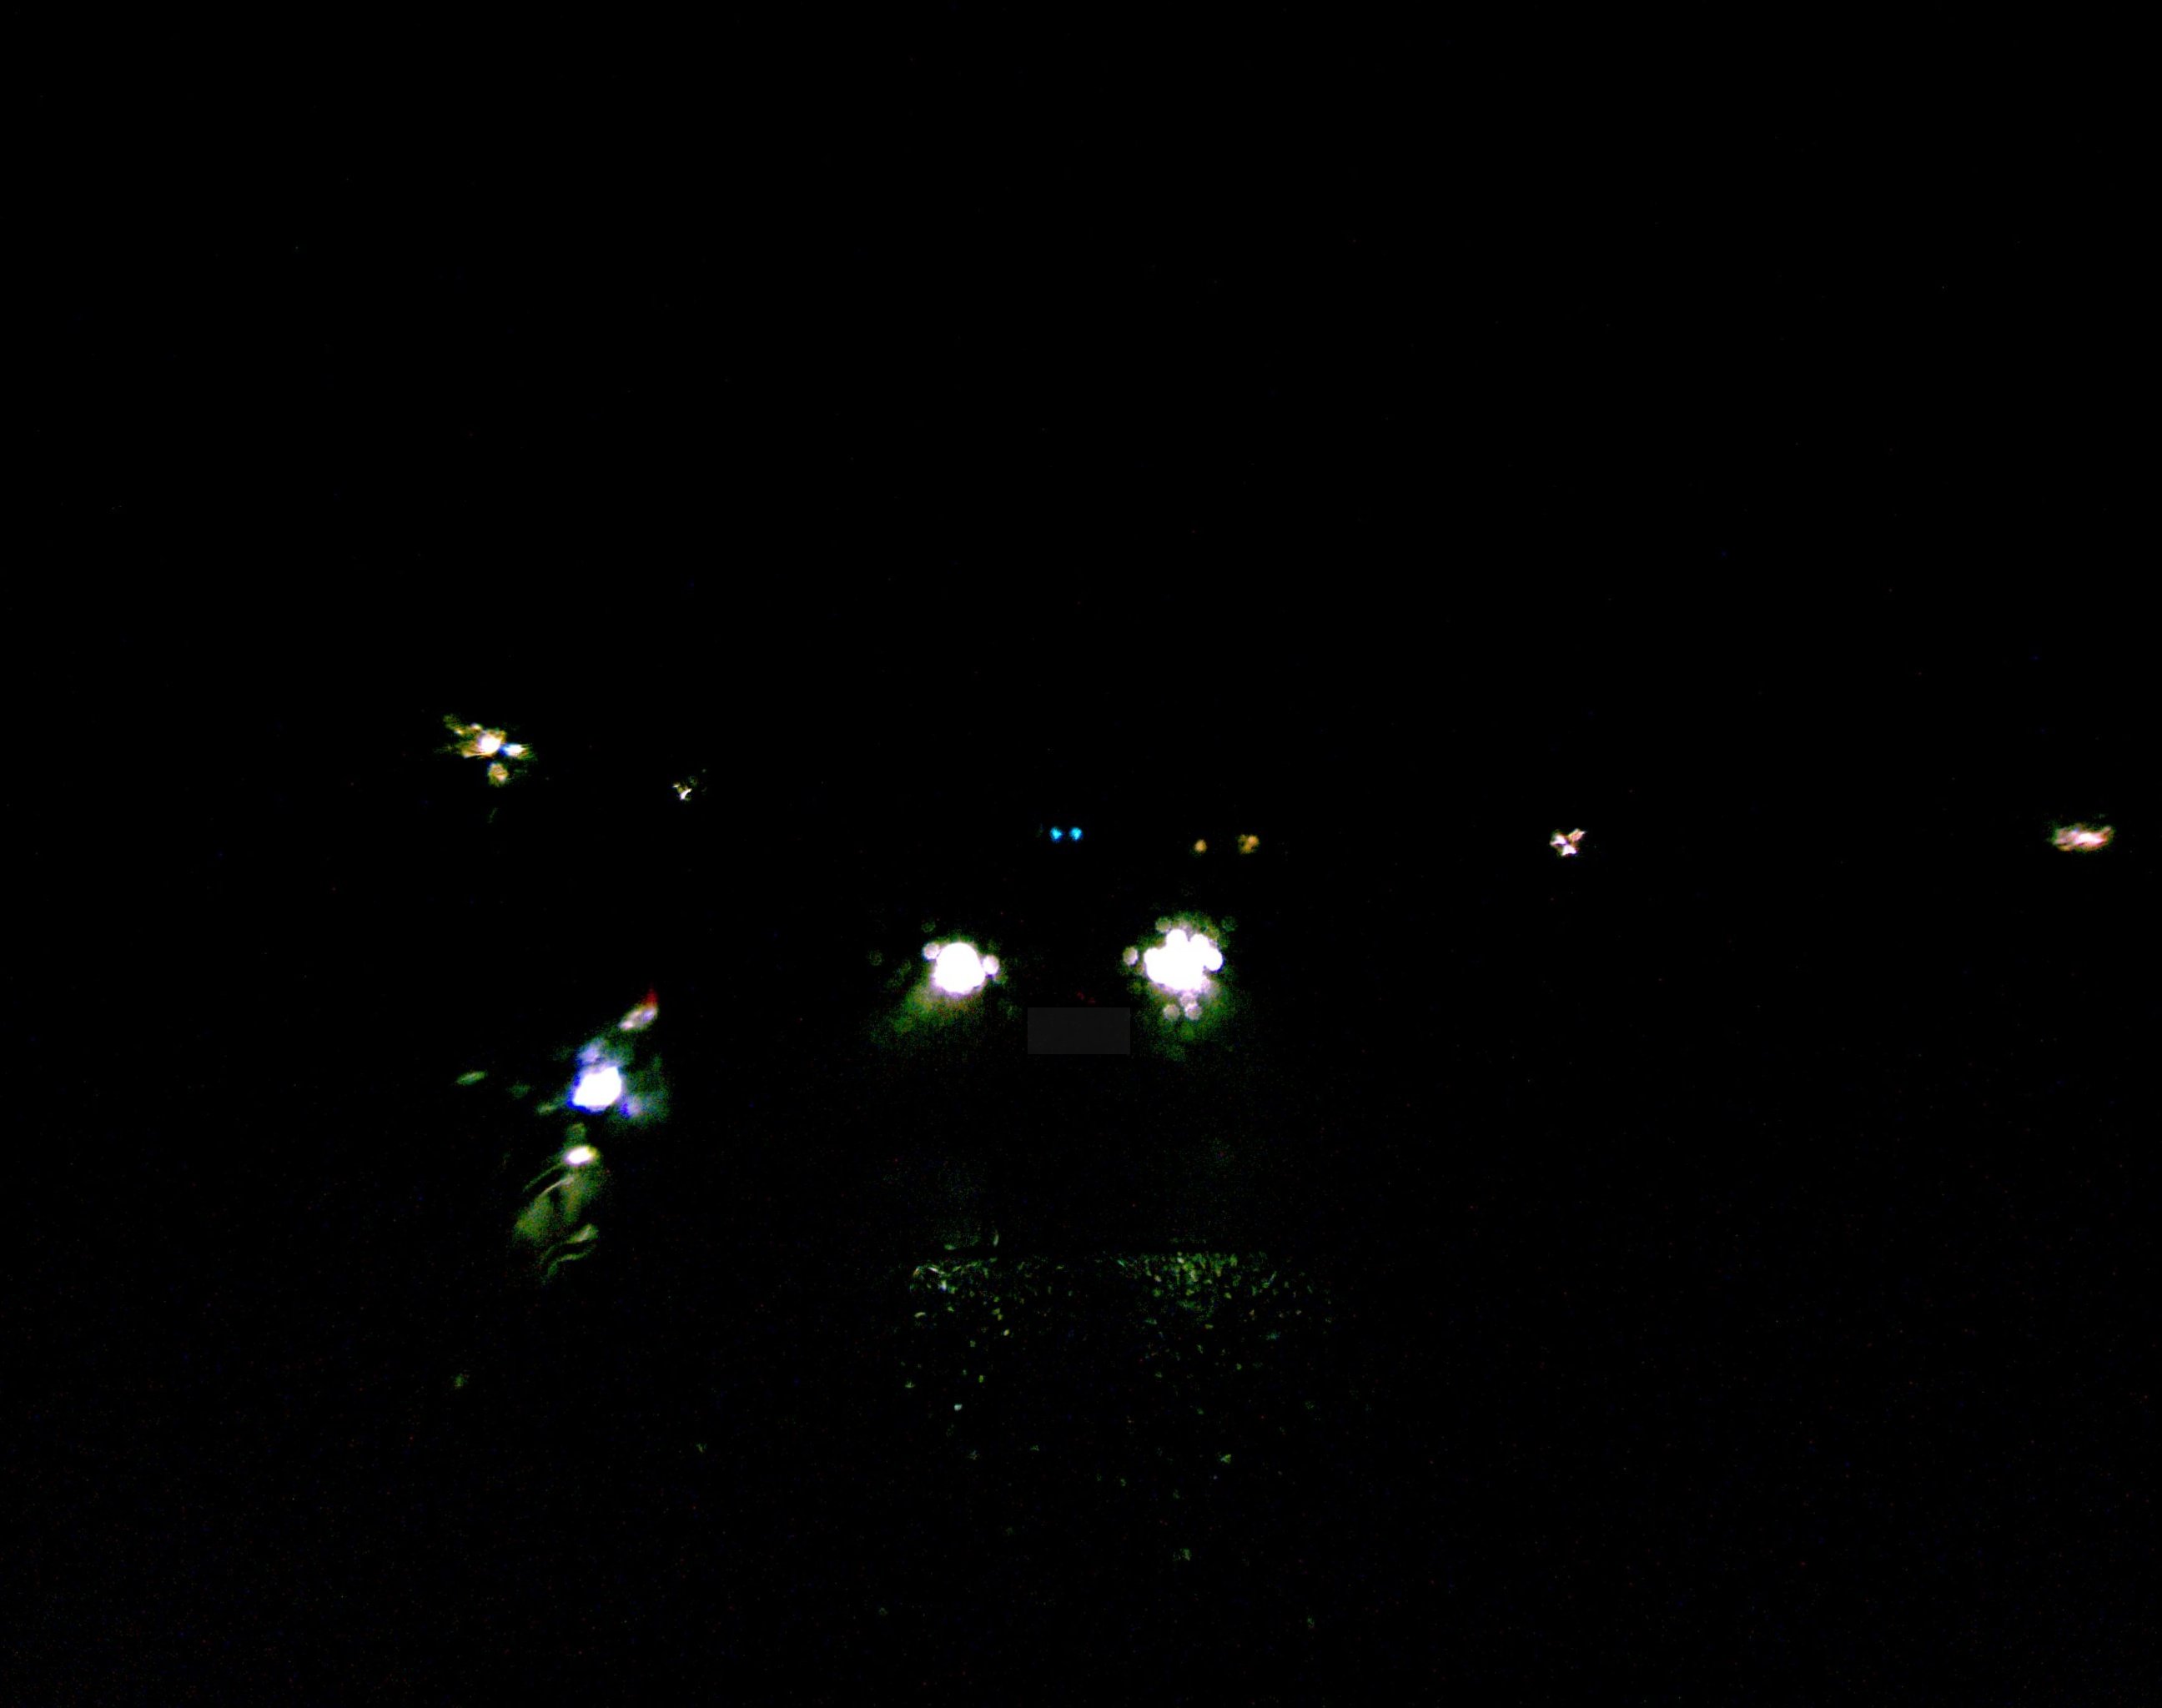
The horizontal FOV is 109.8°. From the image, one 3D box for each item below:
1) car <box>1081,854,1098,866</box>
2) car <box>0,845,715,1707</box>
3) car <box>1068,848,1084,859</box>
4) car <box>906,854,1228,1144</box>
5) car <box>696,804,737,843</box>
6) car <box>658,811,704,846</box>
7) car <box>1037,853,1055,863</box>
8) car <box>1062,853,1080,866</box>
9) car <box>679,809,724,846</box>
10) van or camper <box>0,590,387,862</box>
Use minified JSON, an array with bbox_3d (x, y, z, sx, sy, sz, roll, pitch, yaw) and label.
[{"bbox_3d":[1.178,0.871,109.029,1.893,1.559,4.484,-2,-1,-5],"label":"car"},{"bbox_3d":[-2.634,0.900,0.802,1.839,1.725,4.941,-2,1,3],"label":"car"},{"bbox_3d":[-0.977,-0.155,142.057,2.092,2.002,4.709,-2,1,-9],"label":"car"},{"bbox_3d":[-0.050,0.855,6.630,1.826,1.573,4.354,-2,1,1],"label":"car"},{"bbox_3d":[-27.792,-2.299,58.062,1.937,2.759,4.249,-3,1,-16],"label":"car"},{"bbox_3d":[-24.988,-1.563,47.536,1.735,2.002,3.696,-3,1,-16],"label":"car"},{"bbox_3d":[-6.219,0.653,133.278,2.002,1.687,3.993,-3,1,-20],"label":"car"},{"bbox_3d":[-1.650,0.874,119.945,2.000,2.002,3.995,-3,1,-12],"label":"car"},{"bbox_3d":[-26.337,-1.781,52.849,1.937,2.406,4.249,-3,1,-16],"label":"car"},{"bbox_3d":[-12.736,-1.340,10.477,2.417,2.777,5.763,-3,1,-18],"label":"van or camper"}]
